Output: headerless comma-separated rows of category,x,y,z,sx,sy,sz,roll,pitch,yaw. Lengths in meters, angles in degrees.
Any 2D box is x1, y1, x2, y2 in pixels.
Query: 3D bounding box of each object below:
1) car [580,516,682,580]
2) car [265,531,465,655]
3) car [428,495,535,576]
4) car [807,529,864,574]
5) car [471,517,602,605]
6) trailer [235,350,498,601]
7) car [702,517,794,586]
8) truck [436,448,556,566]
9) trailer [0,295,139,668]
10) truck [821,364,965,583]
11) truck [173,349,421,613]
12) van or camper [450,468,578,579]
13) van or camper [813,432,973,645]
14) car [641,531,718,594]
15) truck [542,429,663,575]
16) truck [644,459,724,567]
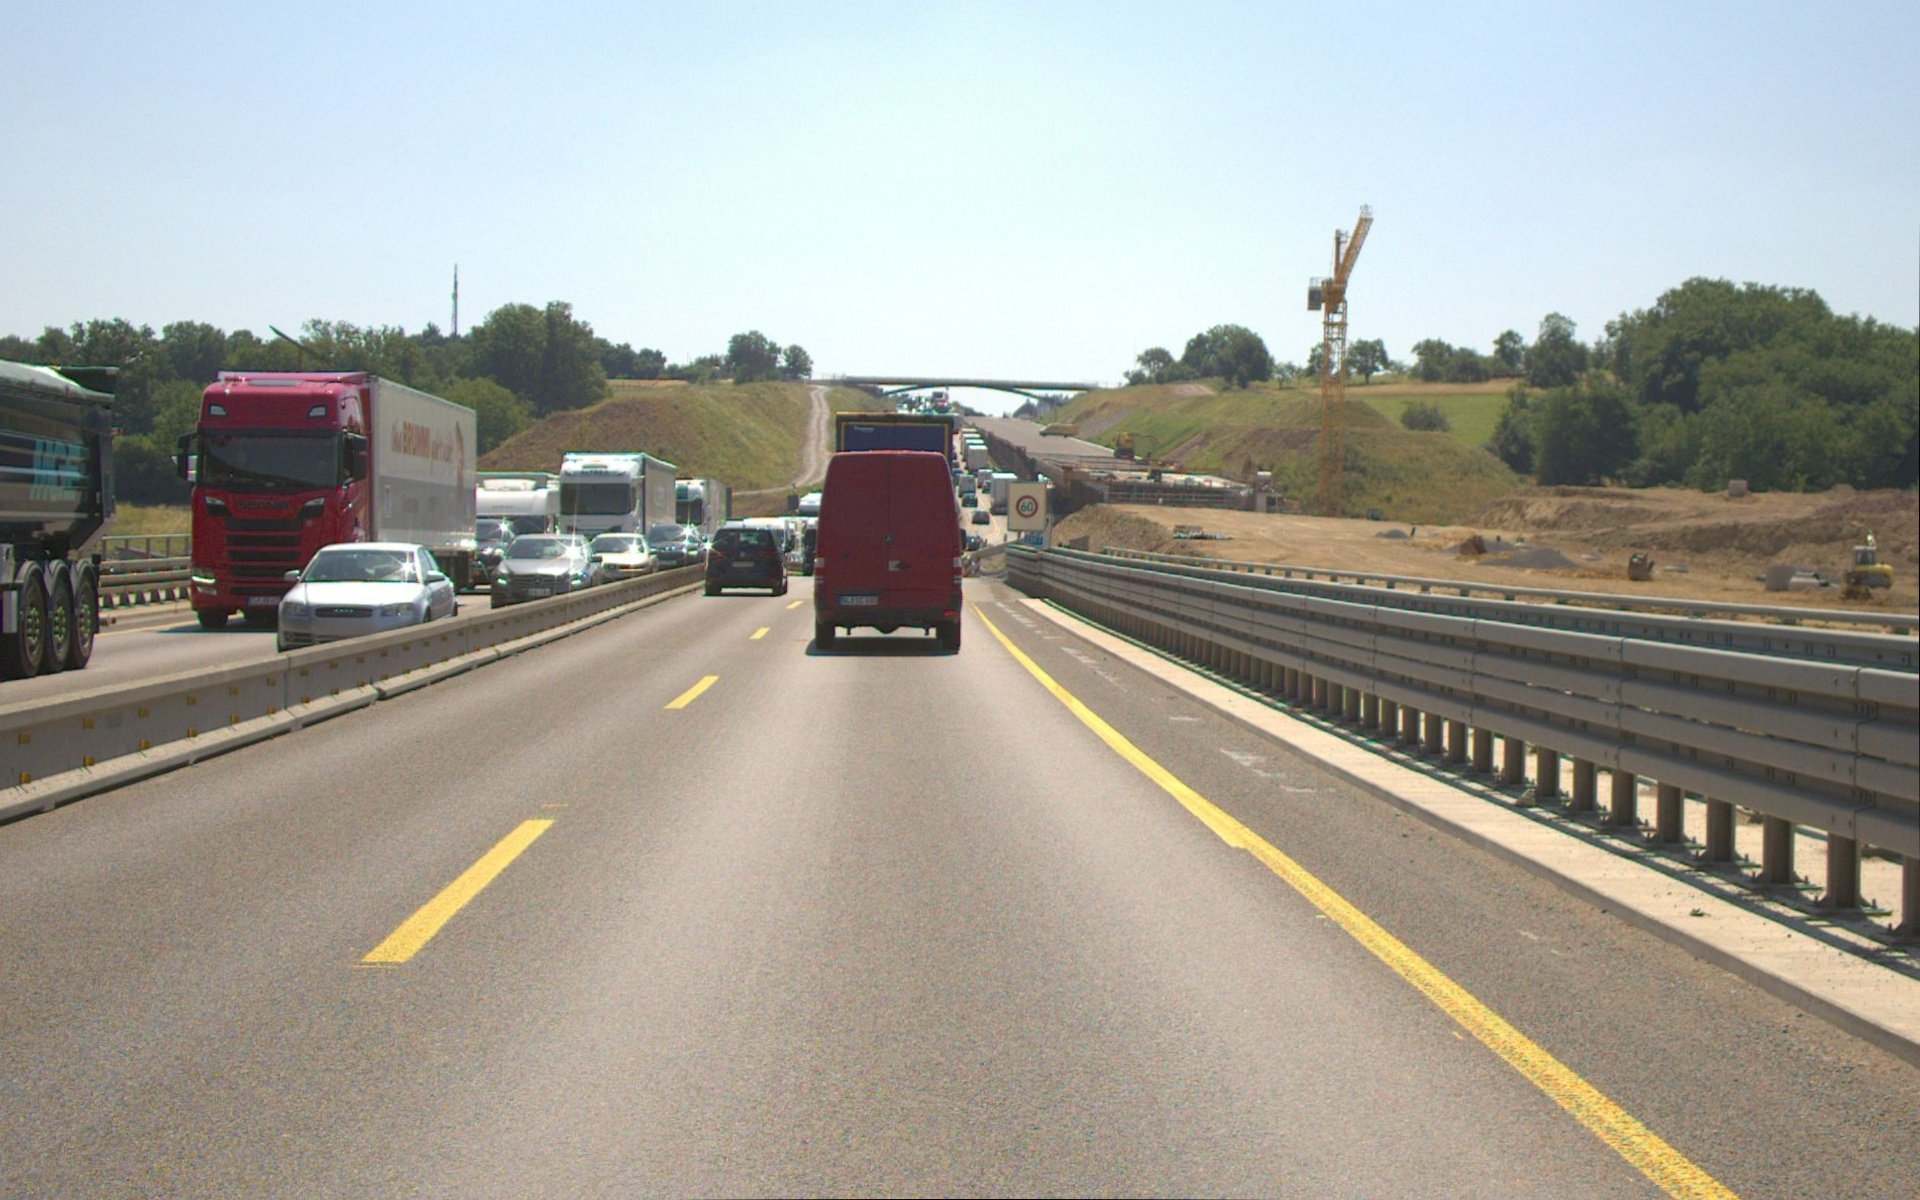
car,-7.918,-1.246,83.170,1.901,1.456,4.194,2,0,2
car,-7.208,-0.126,42.048,1.781,1.375,4.712,-1,1,-2
car,-10.924,-1.504,78.794,1.767,1.728,4.791,2,1,-1
car,-4.523,-1.778,125.447,2.012,1.539,4.133,2,2,-1
car,-7.907,-0.754,64.547,1.890,1.482,4.920,3,1,-1
trailer,-10.740,-2.281,63.533,2.806,4.162,11.799,1,2,0
car,-4.907,-1.151,80.087,2.012,1.539,4.133,1,1,-2
truck,-15.517,-3.126,115.462,2.904,3.752,8.368,1,2,-1
trailer,-10.870,-1.170,35.608,2.794,3.660,8.958,-2,1,-2
truck,-1.590,-2.819,77.861,3.020,4.677,6.933,-1,1,-2
truck,-10.707,-1.931,56.123,2.816,4.023,6.523,1,2,-1
van or camper,-11.123,-1.929,86.070,2.503,2.689,5.244,0,1,0
van or camper,-0.963,-0.849,46.893,2.029,2.735,4.516,1,1,-3
car,-7.901,-1.048,97.090,1.847,1.682,4.619,2,0,-1
truck,-11.414,-3.127,110.295,3.078,4.521,7.103,0,1,0
truck,-11.424,-3.598,142.563,2.806,4.377,6.225,0,1,0
